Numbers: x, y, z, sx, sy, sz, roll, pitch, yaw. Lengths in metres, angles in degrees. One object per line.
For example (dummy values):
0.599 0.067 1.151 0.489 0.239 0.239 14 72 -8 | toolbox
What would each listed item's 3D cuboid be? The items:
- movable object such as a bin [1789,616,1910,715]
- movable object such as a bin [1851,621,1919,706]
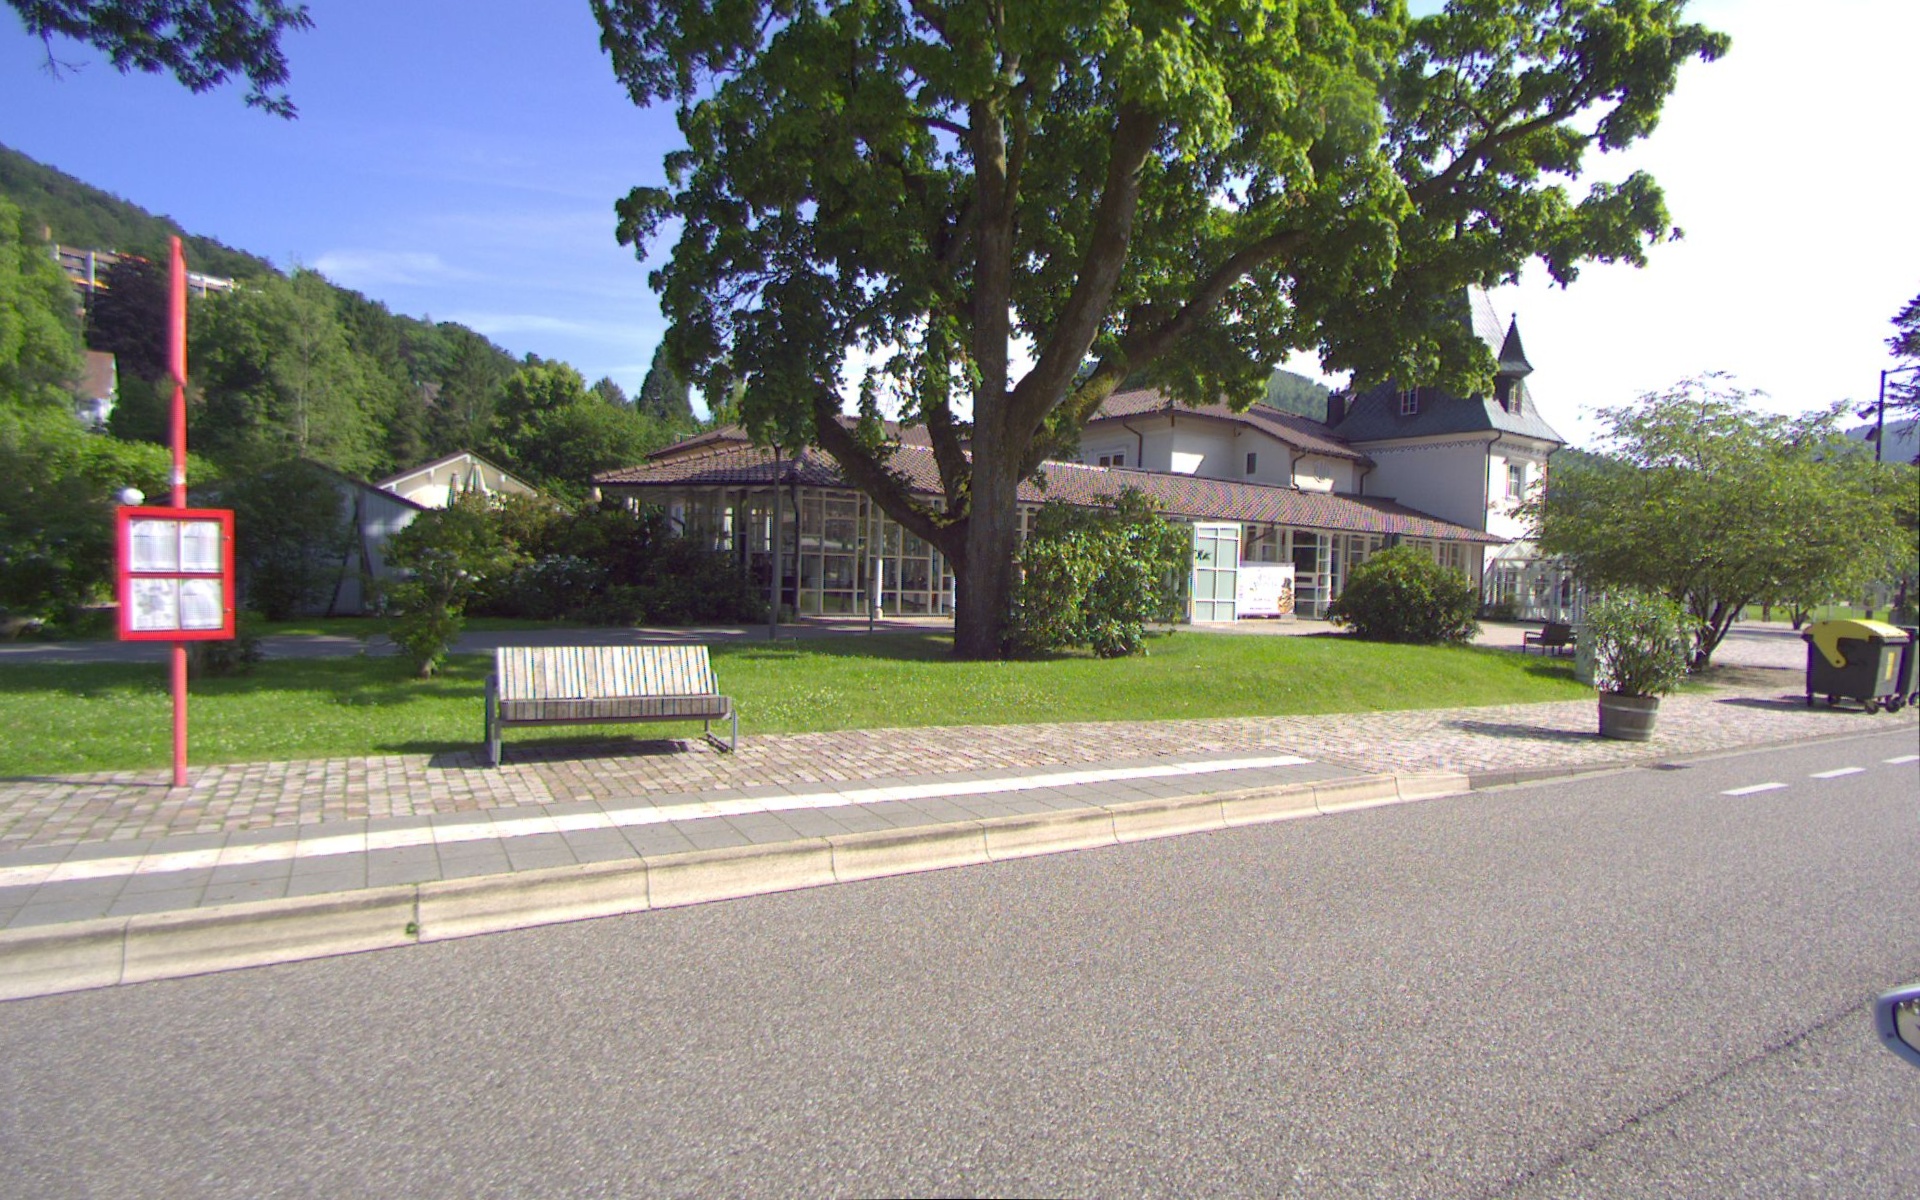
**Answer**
14.584 1.037 16.476 1.362 1.447 1.072 1 4 -33 | movable object such as a bin
16.220 1.071 17.419 1.281 1.360 0.750 1 4 -33 | movable object such as a bin
